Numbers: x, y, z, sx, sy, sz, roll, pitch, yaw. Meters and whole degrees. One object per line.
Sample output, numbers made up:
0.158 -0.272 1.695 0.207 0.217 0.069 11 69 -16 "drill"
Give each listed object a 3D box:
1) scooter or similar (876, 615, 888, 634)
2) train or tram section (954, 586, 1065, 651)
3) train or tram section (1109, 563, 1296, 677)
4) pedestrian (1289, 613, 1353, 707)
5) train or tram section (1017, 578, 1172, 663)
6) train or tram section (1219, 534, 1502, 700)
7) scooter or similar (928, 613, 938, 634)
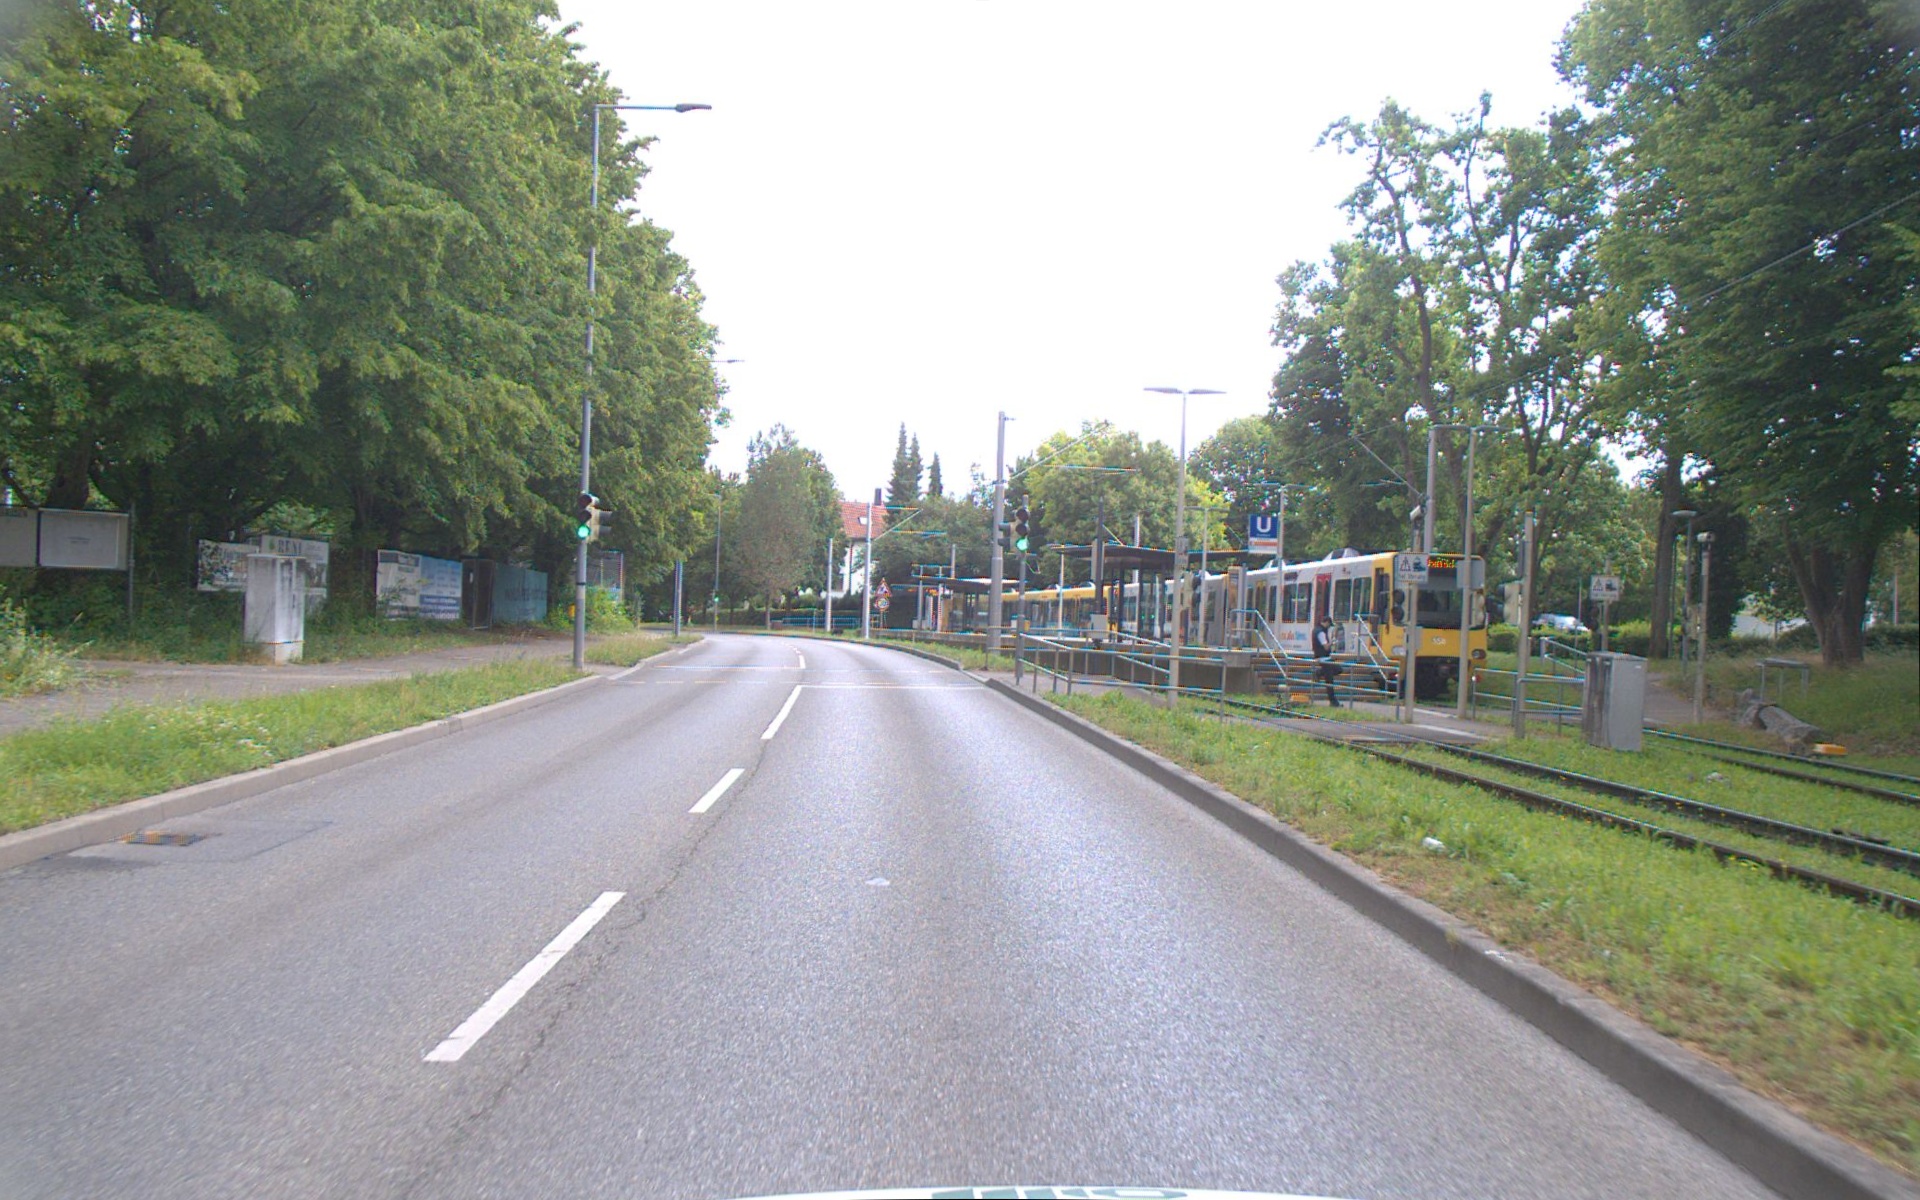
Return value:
-5.327 1.693 112.950 0.423 1.275 1.247 1 -3 -19 "scooter or similar"
2.840 1.145 104.920 2.763 3.651 19.460 3 -1 -11 "train or tram section"
9.332 0.823 67.172 2.759 3.865 18.907 3 -1 -6 "train or tram section"
7.190 1.191 32.983 0.967 1.788 0.727 3 0 -13 "pedestrian"
6.544 1.017 85.685 2.763 3.802 19.460 3 -1 -11 "train or tram section"
10.939 0.547 48.415 2.757 3.802 18.518 3 -1 -3 "train or tram section"
-1.686 1.480 103.535 0.361 1.264 1.143 1 -1 -11 "scooter or similar"
